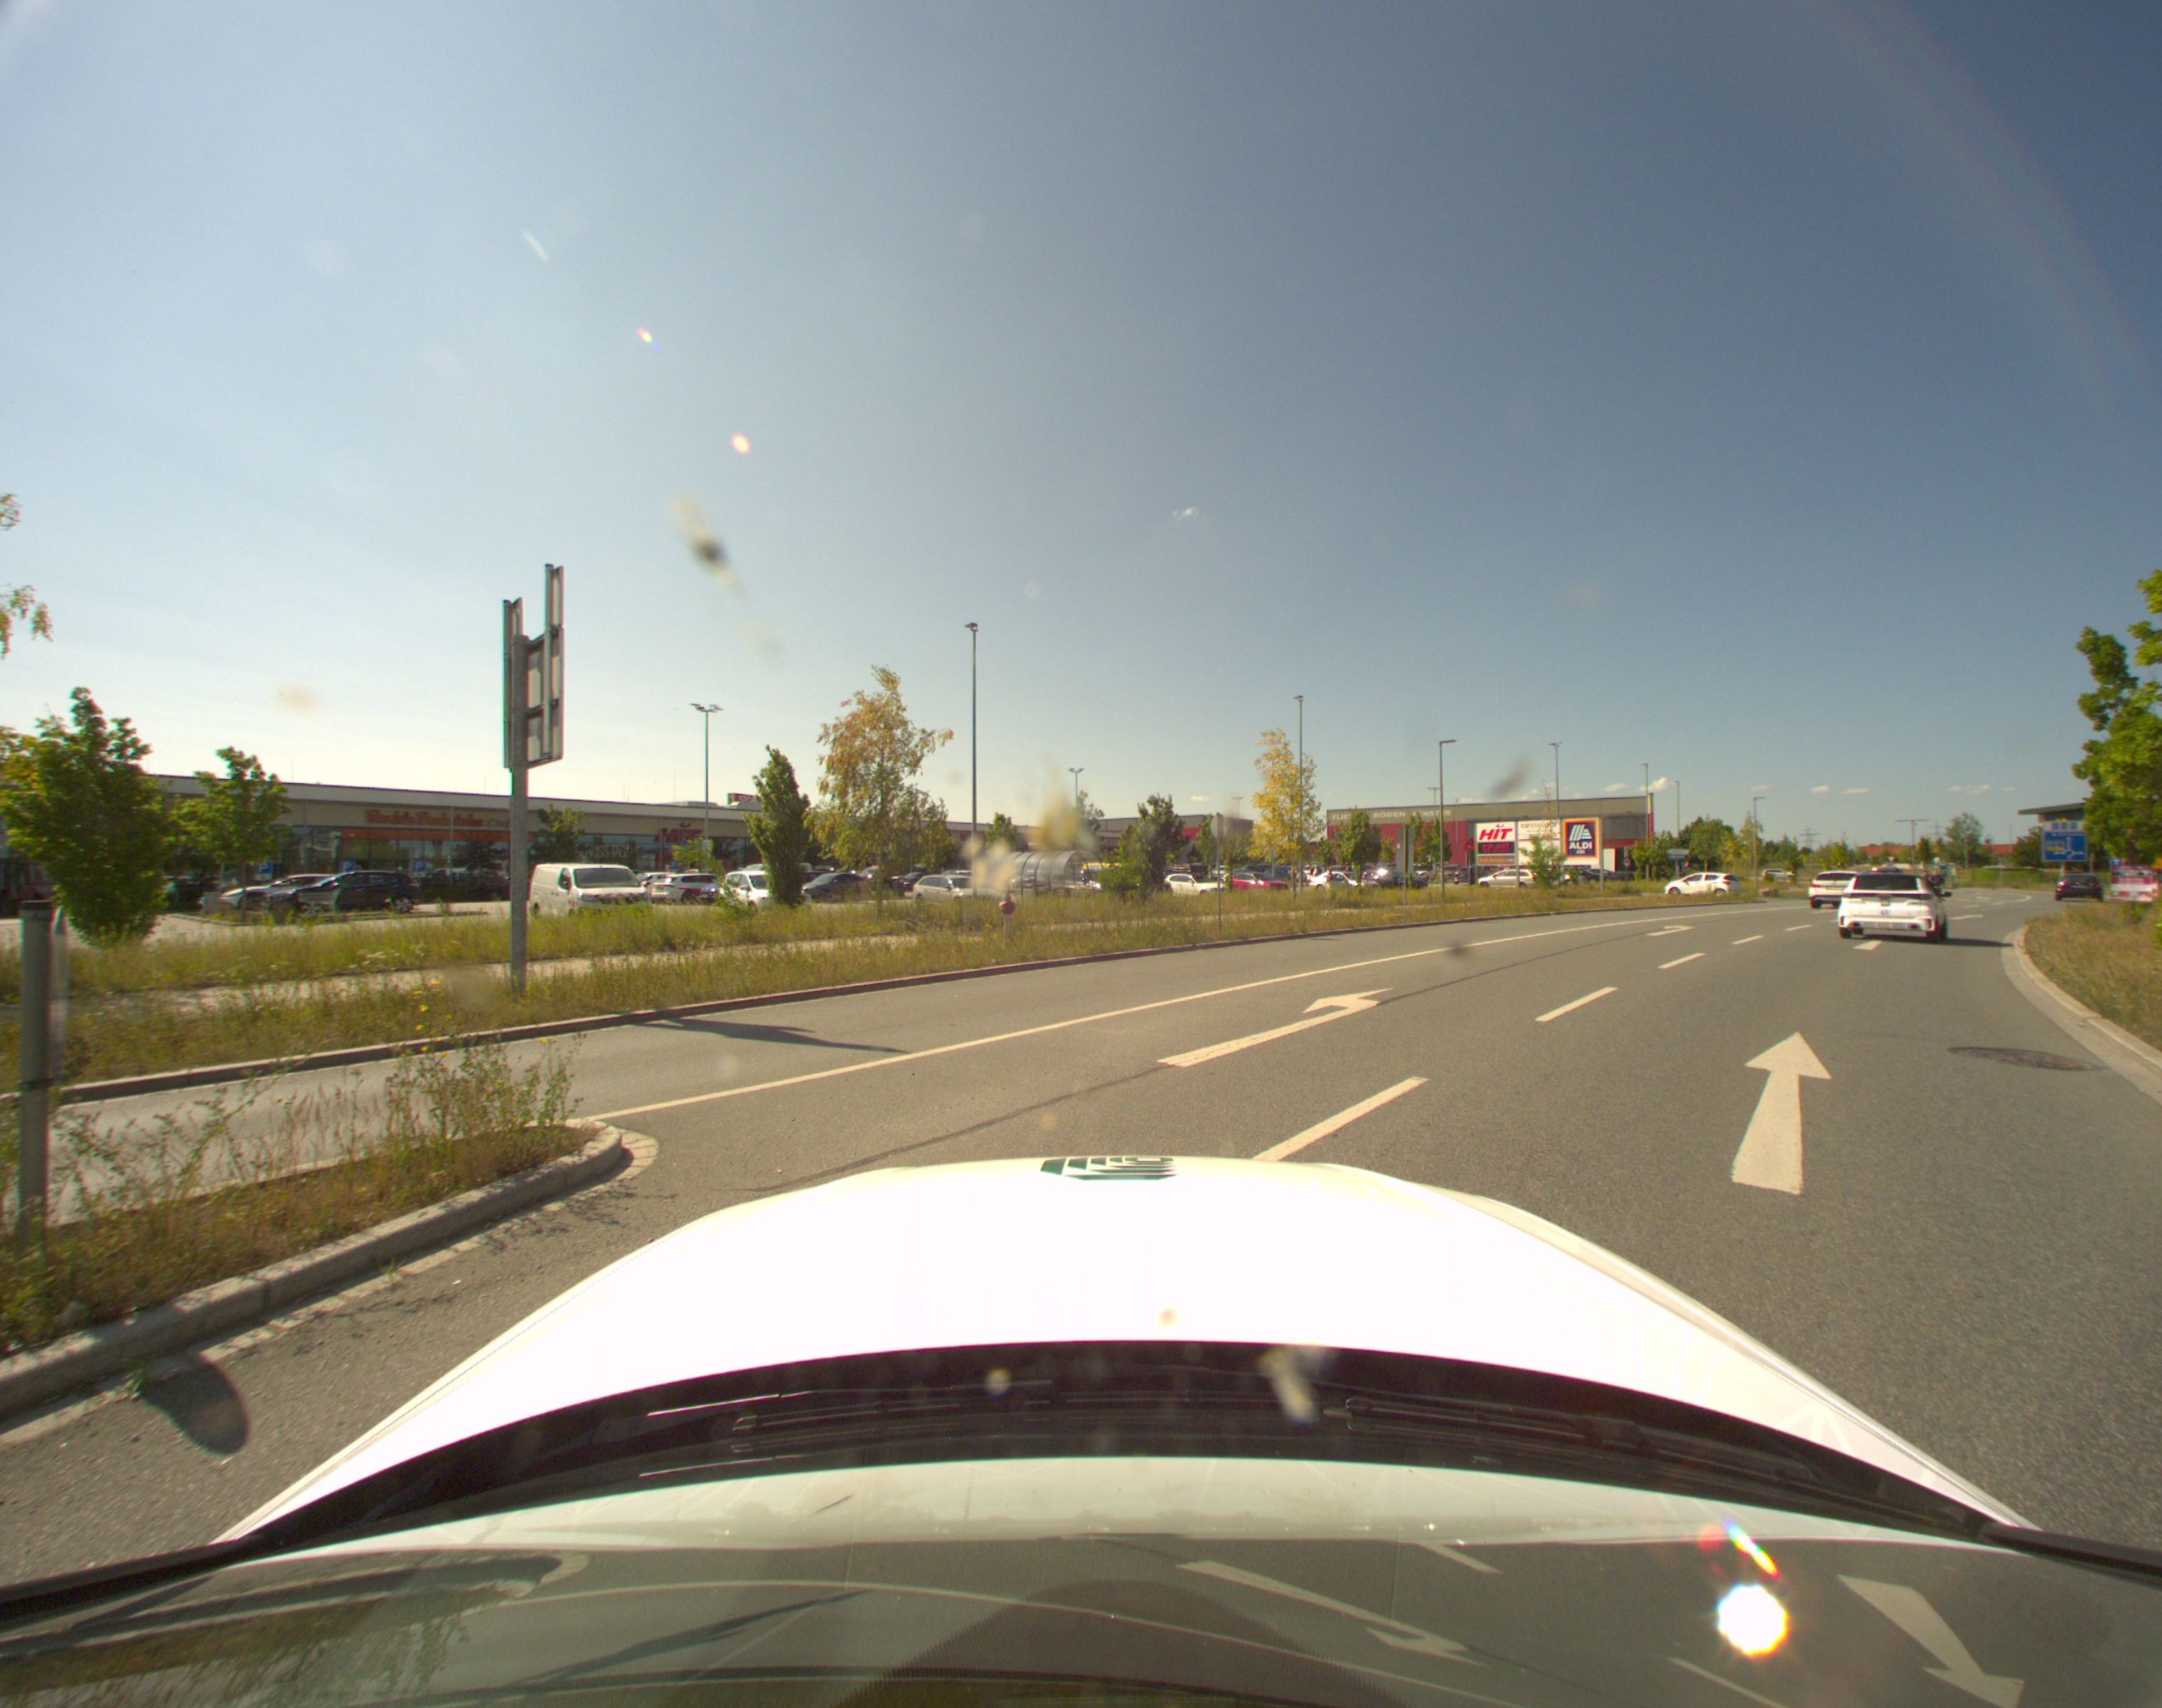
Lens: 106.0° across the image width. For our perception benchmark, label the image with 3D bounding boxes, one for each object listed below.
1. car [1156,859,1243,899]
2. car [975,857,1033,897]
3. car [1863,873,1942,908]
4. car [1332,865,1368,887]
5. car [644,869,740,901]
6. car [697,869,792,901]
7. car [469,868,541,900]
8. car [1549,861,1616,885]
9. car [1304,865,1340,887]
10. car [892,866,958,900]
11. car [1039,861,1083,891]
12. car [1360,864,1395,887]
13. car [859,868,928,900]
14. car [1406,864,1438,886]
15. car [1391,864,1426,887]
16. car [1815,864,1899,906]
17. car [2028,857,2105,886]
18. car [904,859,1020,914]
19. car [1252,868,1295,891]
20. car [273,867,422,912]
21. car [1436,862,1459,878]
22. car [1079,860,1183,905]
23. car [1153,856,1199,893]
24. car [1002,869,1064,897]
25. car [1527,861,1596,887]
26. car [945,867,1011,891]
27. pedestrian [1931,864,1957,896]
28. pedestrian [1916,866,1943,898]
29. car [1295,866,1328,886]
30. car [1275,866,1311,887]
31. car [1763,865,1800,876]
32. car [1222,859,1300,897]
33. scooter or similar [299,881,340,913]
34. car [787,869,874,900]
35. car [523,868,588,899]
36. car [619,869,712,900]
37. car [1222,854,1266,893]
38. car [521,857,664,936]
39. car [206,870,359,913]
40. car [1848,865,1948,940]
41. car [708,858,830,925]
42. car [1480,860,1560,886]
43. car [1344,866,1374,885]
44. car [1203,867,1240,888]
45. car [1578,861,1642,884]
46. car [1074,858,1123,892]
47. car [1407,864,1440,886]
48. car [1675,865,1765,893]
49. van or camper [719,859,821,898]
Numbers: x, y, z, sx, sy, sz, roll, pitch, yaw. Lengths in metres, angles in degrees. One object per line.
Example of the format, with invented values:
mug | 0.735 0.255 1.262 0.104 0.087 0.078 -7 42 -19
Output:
car | 6.170 1.292 42.771 1.953 2.014 4.359 1 -2 -39
car | -5.536 1.657 59.372 1.974 2.822 4.511 -2 -2 29
car | 39.104 1.721 38.735 3.794 1.551 1.724 0 -2 -30
car | 25.744 2.092 77.834 1.974 2.038 4.513 -2 -2 35
car | -18.252 1.421 38.380 1.709 1.391 3.755 -1 -1 31
car | -15.525 1.407 37.745 1.709 1.391 3.755 -1 -1 31
car | -32.550 1.683 45.995 3.948 1.707 2.013 -1 -1 33
car | 42.819 1.649 69.567 2.011 2.038 4.429 1 -2 -44
car | 23.382 2.153 78.969 1.974 2.038 4.513 -2 -2 35
car | -10.563 1.941 55.441 1.974 2.192 4.511 -2 -2 29
car | -1.939 2.115 79.323 1.974 2.822 4.513 -2 -2 35
car | 27.671 2.018 75.945 1.974 2.038 4.513 -2 -2 35
car | -13.114 2.064 57.146 1.974 2.103 4.512 -2 -2 39
car | 33.268 2.029 79.392 1.974 2.038 4.513 -2 -2 35
car | 29.915 1.945 74.292 1.974 2.038 4.513 -2 -2 35
car | 31.455 1.219 32.974 4.591 1.551 1.722 0 -2 -37
car | 55.128 0.944 45.569 3.852 1.550 1.982 0 -1 -28
car | -4.869 1.252 32.707 2.176 2.014 5.054 0 -1 -42
car | 15.856 2.079 67.037 1.974 1.784 4.342 -2 -2 35
car | -27.245 1.281 30.358 1.709 1.509 3.830 -1 -1 35
car | 48.067 2.120 106.727 1.974 2.038 4.513 -2 -2 35
car | 2.333 1.324 39.411 2.175 2.014 5.057 0 -1 -39
car | 7.539 1.604 64.281 1.974 2.822 4.511 -2 -2 29
car | -3.364 2.013 57.600 1.974 1.863 4.513 -2 -2 35
car | 39.038 1.616 66.233 2.011 2.038 4.429 1 -2 -44
car | -6.613 1.592 52.483 1.634 1.520 4.377 -2 -2 36
pedestrian | 45.479 1.362 42.924 0.709 1.664 0.664 0 -1 -9
pedestrian | 44.641 1.464 42.843 0.709 1.664 0.664 0 -1 -9
car | 24.115 2.297 85.031 1.974 2.038 4.513 -2 -2 35
car | 20.990 2.221 80.351 1.974 2.038 4.513 -2 -2 35
car | 110.939 2.573 128.955 3.963 1.728 2.005 -1 -1 9
car | 10.072 1.320 45.786 1.891 2.014 4.092 1 -1 -37
scooter or similar | -26.585 1.481 28.422 0.644 1.079 0.952 -1 -1 39
car | -13.020 1.572 42.521 1.850 1.508 4.025 -2 -2 36
car | -31.214 1.725 48.366 3.948 1.707 2.013 -1 -1 38
car | -20.512 1.483 40.366 1.709 1.391 3.755 -1 -1 31
car | 12.390 1.474 61.793 1.974 2.822 4.511 -2 -2 29
car | -14.066 1.135 23.301 5.162 2.014 2.100 -1 -1 42
car | -34.400 1.583 35.209 1.850 1.706 4.514 -2 -2 38
car | 18.369 1.017 18.336 3.018 1.490 1.461 1 1 -45
car | -10.489 1.188 27.172 2.176 2.014 5.054 0 -1 -42
car | 30.549 1.328 56.778 2.010 1.715 4.432 1 -2 -39
car | 31.017 2.351 90.850 1.974 2.038 4.513 -2 -2 35
car | 14.564 2.407 84.224 1.974 2.038 4.513 -2 -2 35
car | 47.315 1.674 72.957 2.011 2.038 4.429 1 -2 -44
car | 1.556 1.823 69.718 1.974 2.822 4.513 -2 -2 35
car | 33.382 2.026 79.331 1.974 2.038 4.513 -2 -2 35
car | 36.963 1.425 47.202 1.749 1.551 3.741 0 -2 -36
van or camper | -17.345 1.328 45.691 1.974 2.014 5.084 -1 -1 37
